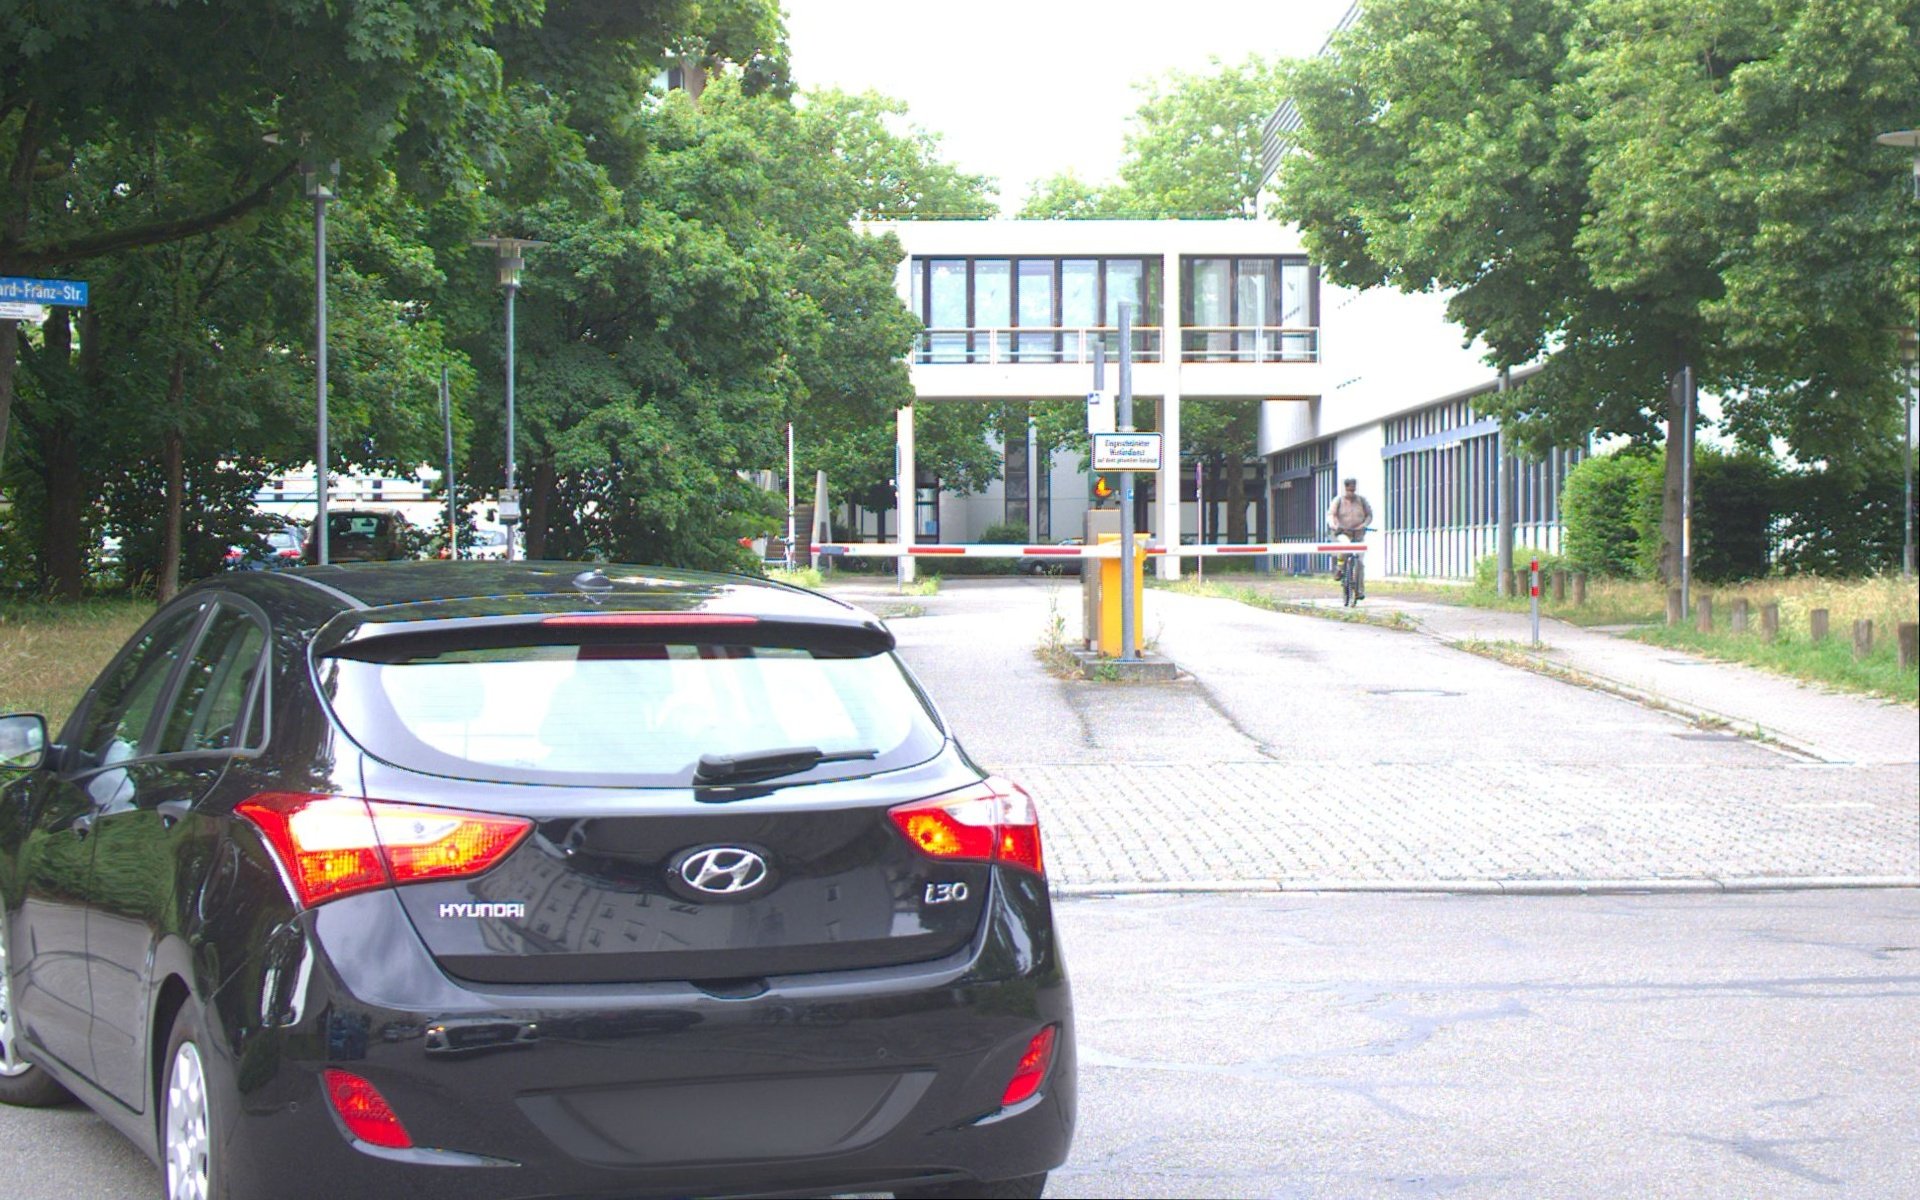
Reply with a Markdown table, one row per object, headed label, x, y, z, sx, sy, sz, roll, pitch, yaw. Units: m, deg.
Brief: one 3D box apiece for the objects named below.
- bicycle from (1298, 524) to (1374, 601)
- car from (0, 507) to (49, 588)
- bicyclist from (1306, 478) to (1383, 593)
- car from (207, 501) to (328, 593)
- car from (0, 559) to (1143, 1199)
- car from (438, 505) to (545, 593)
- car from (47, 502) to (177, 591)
| label | x | y | z | sx | sy | sz | roll | pitch | yaw |
| --- | --- | --- | --- | --- | --- | --- | --- | --- | --- |
| bicycle | 5.429 | -0.551 | 49.776 | 0.866 | 1.071 | 2.142 | 0 | 2 | 0 |
| car | -20.041 | -1.083 | 70.435 | 1.993 | 1.612 | 4.001 | 0 | 1 | -5 |
| bicyclist | 5.547 | -0.934 | 49.639 | 1.017 | 1.639 | 0.923 | 0 | 2 | 0 |
| car | -14.218 | -1.063 | 70.761 | 1.993 | 1.788 | 4.000 | 0 | -1 | -5 |
| car | -1.253 | 0.641 | 8.007 | 1.845 | 1.457 | 3.828 | 0 | 1 | -23 |
| car | -9.624 | -1.043 | 70.875 | 1.993 | 1.756 | 4.001 | 0 | 0 | -5 |
| car | -17.318 | -1.073 | 70.397 | 1.993 | 1.722 | 4.000 | 0 | -1 | -5 |
